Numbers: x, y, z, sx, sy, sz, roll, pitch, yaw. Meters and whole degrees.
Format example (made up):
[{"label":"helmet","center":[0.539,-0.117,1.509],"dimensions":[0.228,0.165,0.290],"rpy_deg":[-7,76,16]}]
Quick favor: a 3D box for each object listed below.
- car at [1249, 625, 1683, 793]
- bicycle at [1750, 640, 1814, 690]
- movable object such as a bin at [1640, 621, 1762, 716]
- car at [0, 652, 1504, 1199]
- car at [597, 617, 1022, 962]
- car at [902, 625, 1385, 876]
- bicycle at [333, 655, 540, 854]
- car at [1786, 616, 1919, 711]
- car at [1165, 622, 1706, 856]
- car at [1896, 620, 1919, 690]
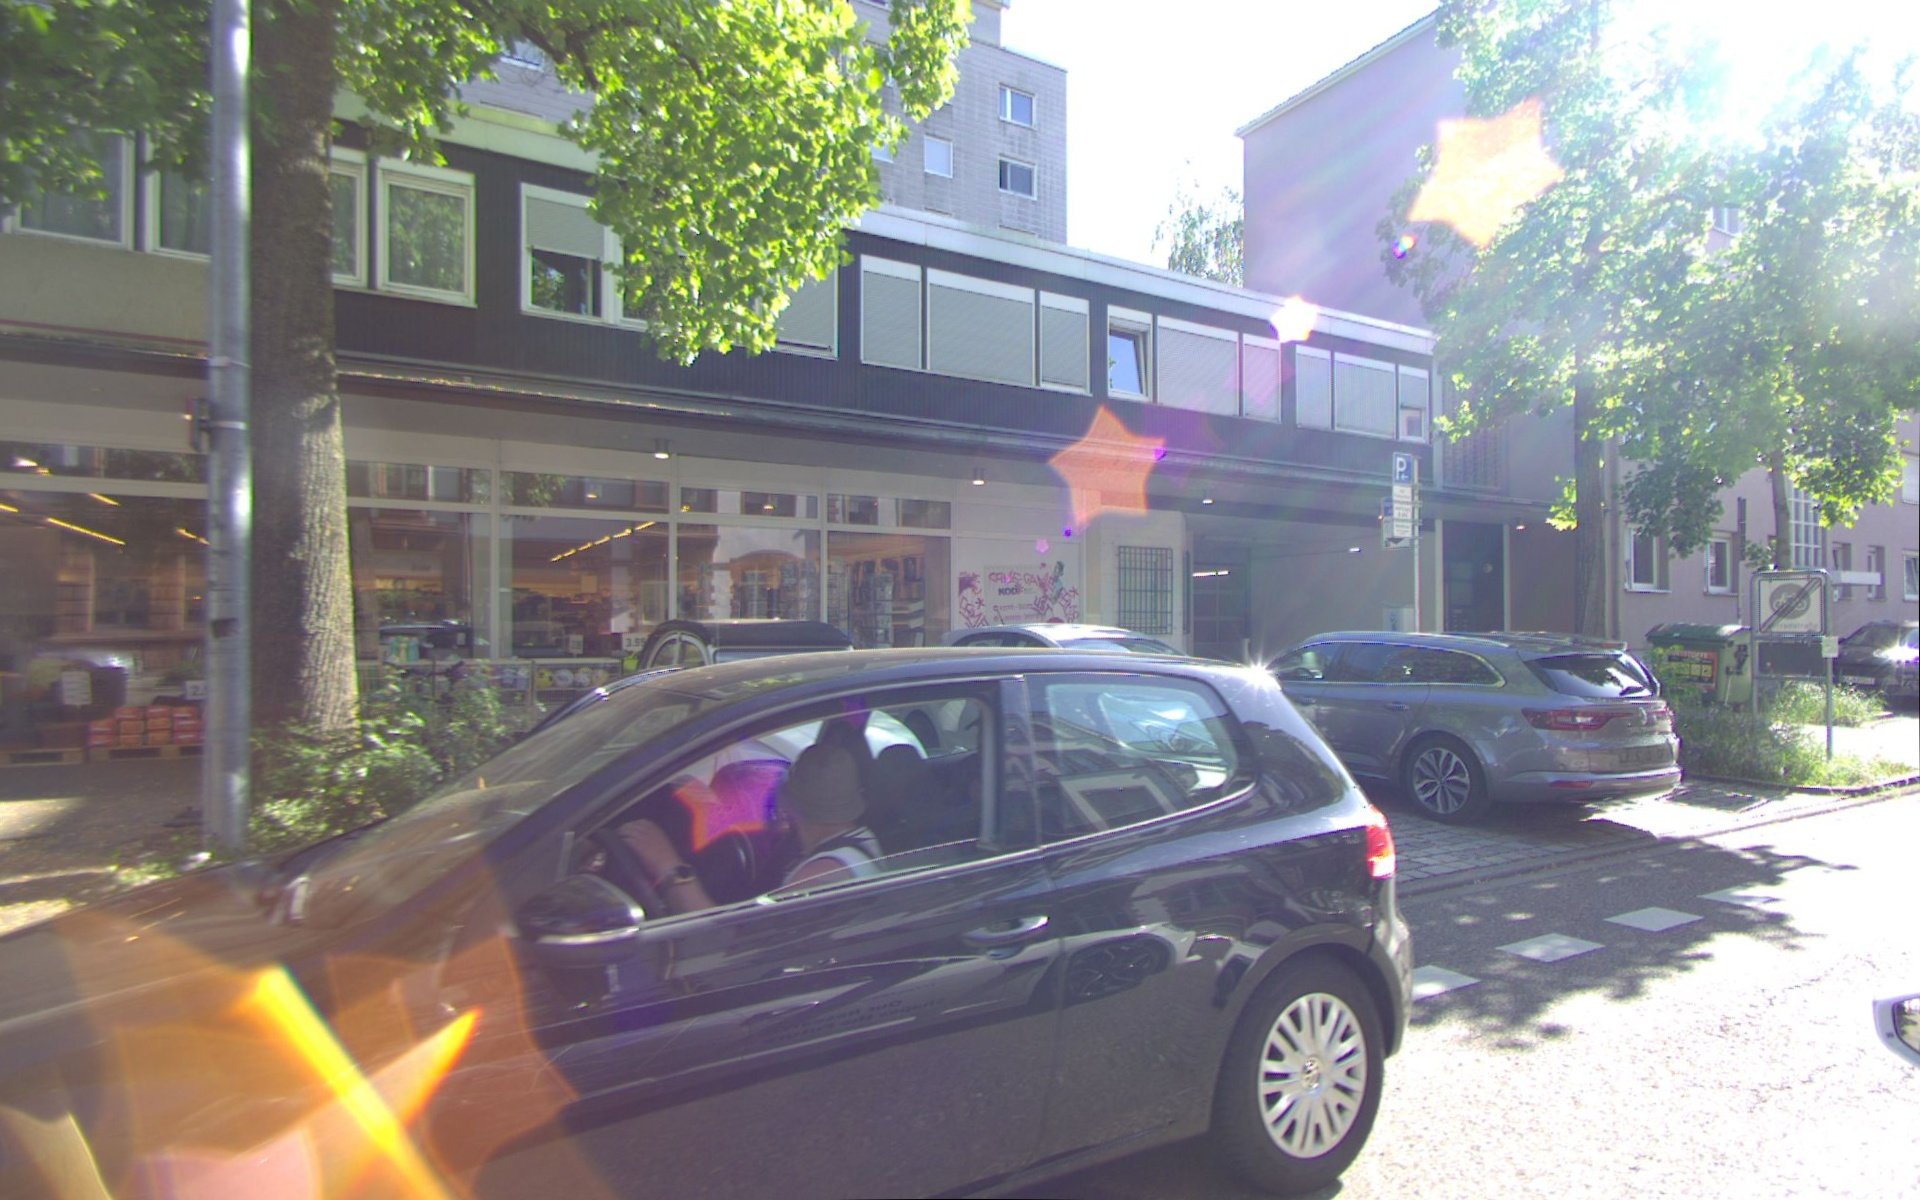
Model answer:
[{"label":"car","center":[5.484,1.060,11.507],"dimensions":[1.624,1.452,4.285],"rpy_deg":[1,0,-29]},{"label":"bicycle","center":[19.586,1.532,23.924],"dimensions":[1.881,1.116,0.552],"rpy_deg":[1,-1,-31]},{"label":"movable object such as a bin","center":[12.062,1.082,16.383],"dimensions":[1.060,1.469,1.228],"rpy_deg":[0,-1,-22]},{"label":"car","center":[-0.532,0.898,2.727],"dimensions":[3.914,1.457,1.755],"rpy_deg":[1,-3,-30]},{"label":"car","center":[-1.247,0.924,6.686],"dimensions":[1.664,1.572,3.582],"rpy_deg":[1,-1,-29]},{"label":"car","center":[1.254,0.992,8.425],"dimensions":[1.793,1.483,3.964],"rpy_deg":[1,0,-32]},{"label":"bicycle","center":[-3.845,1.066,7.575],"dimensions":[0.616,1.200,1.986],"rpy_deg":[1,0,-4]},{"label":"car","center":[18.257,1.157,19.613],"dimensions":[4.312,1.627,1.868],"rpy_deg":[1,1,-30]},{"label":"car","center":[3.933,0.998,9.158],"dimensions":[1.740,1.480,4.288],"rpy_deg":[1,0,-27]},{"label":"car","center":[23.264,1.257,22.596],"dimensions":[4.176,1.517,1.985],"rpy_deg":[1,2,-29]}]
